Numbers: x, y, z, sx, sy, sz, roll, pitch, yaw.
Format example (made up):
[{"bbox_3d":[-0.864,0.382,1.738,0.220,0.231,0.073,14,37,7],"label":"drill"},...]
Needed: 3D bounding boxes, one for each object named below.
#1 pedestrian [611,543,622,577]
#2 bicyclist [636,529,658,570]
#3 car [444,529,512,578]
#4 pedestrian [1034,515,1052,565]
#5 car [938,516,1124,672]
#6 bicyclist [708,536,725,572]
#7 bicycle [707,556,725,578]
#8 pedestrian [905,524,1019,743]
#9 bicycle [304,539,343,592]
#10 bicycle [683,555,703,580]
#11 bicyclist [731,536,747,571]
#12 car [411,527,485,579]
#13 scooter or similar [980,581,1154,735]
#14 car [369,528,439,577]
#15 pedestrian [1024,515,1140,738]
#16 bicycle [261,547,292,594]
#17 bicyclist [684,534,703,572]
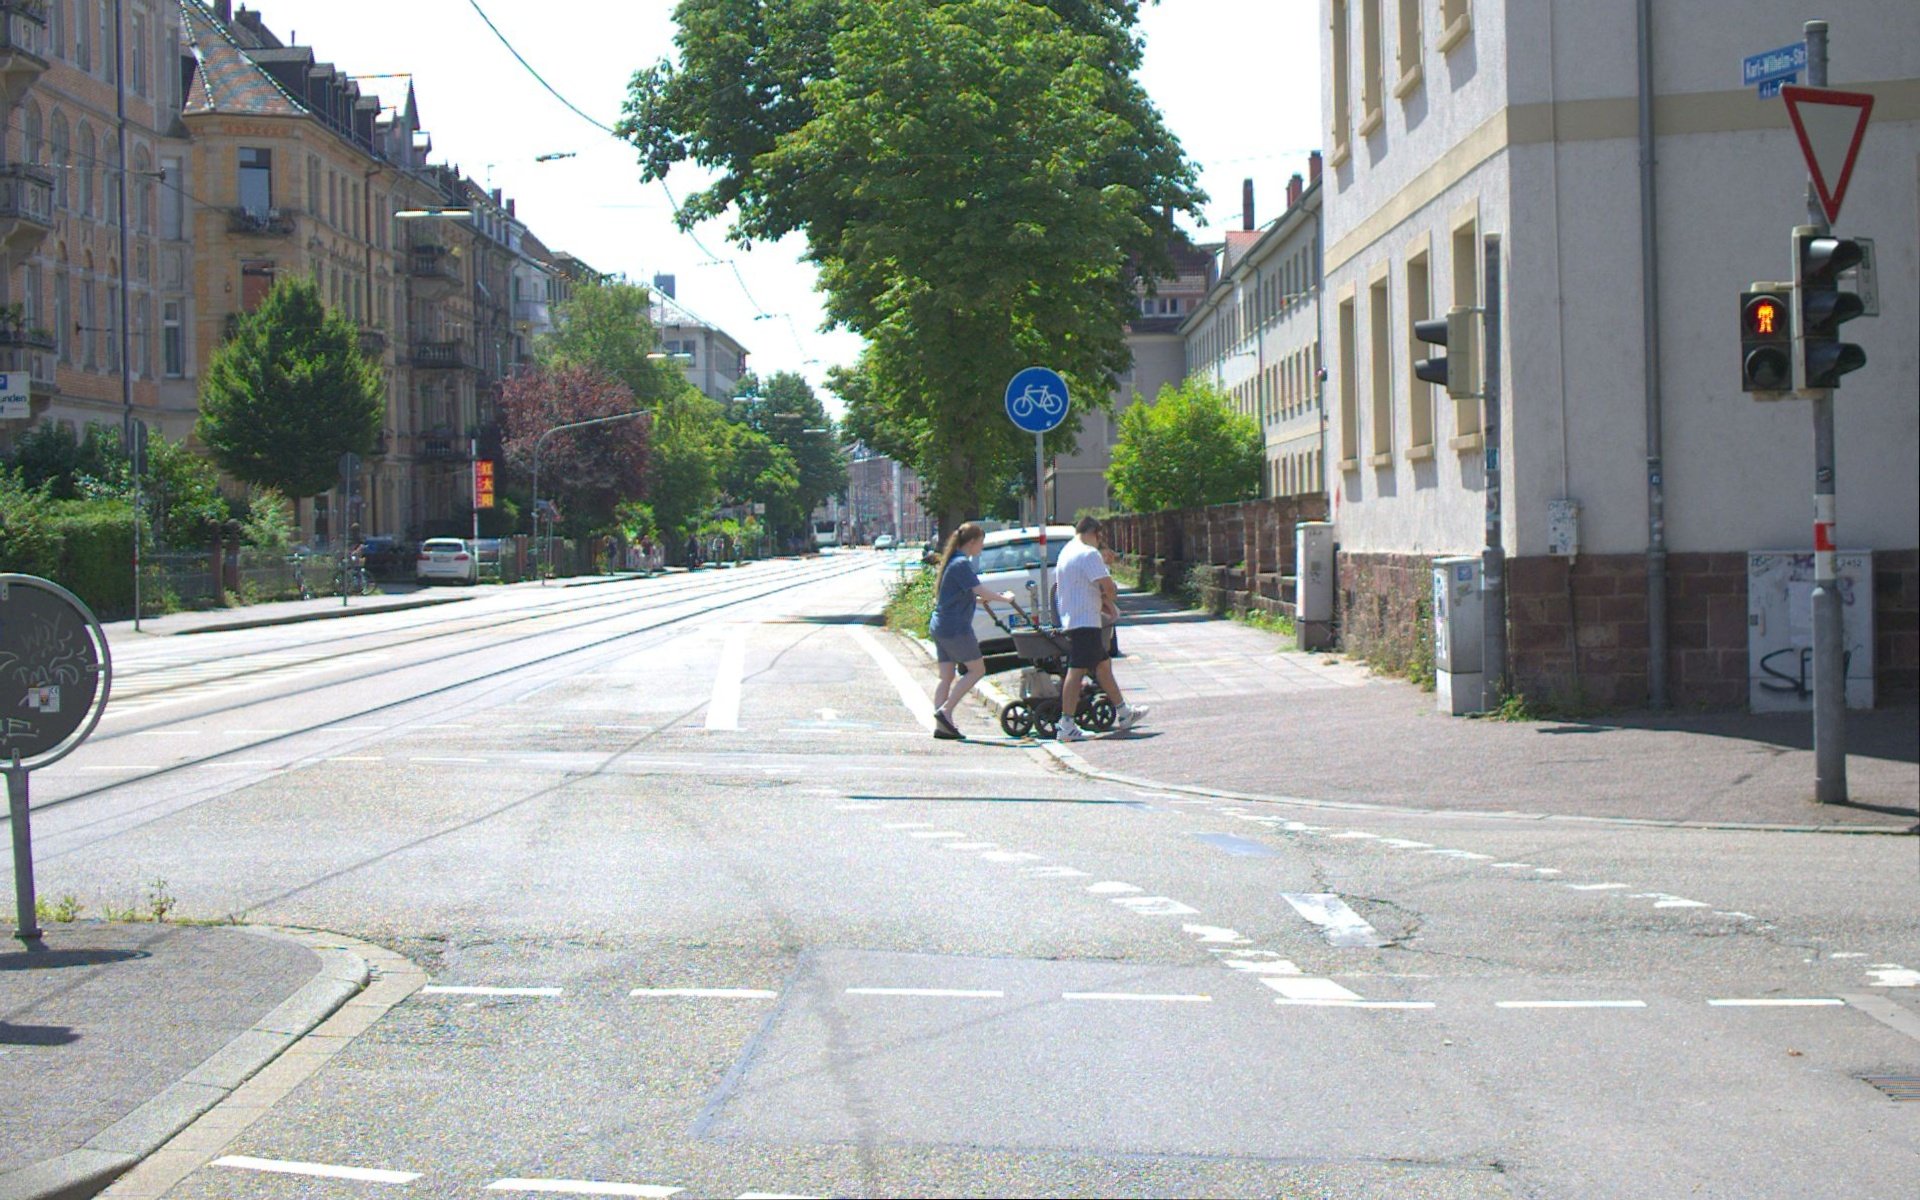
[{"bbox_3d":[-14.648,-1.713,146.512,0.406,1.456,0.436,-1,1,-1],"label":"pedestrian"},{"bbox_3d":[-12.476,-2.015,137.209,0.727,1.623,1.079,1,0,1],"label":"bicyclist"},{"bbox_3d":[-17.339,-1.664,123.837,1.919,1.709,4.000,1,1,-1],"label":"car"},{"bbox_3d":[2.611,-1.874,107.826,0.521,1.557,0.573,-1,1,-1],"label":"pedestrian"},{"bbox_3d":[0.716,-0.085,37.332,1.815,1.511,4.000,-3,1,-1],"label":"car"},{"bbox_3d":[-12.605,-2.381,178.070,0.727,1.812,1.079,1,0,1],"label":"bicyclist"},{"bbox_3d":[-12.621,-1.697,178.063,0.727,1.119,2.085,1,1,1],"label":"bicycle"},{"bbox_3d":[0.014,0.250,26.077,0.675,1.640,0.559,1,0,-23],"label":"pedestrian"},{"bbox_3d":[-15.667,-0.851,84.676,0.677,1.274,1.919,-1,1,-3],"label":"bicycle"},{"bbox_3d":[-12.230,-1.505,157.585,0.727,1.119,2.085,1,1,1],"label":"bicycle"},{"bbox_3d":[-11.435,-2.396,177.854,0.727,1.812,1.079,1,0,1],"label":"bicyclist"},{"bbox_3d":[-17.195,-1.579,115.573,1.919,1.709,4.000,1,1,-1],"label":"car"},{"bbox_3d":[0.822,0.441,26.453,1.201,1.151,0.558,1,0,-26],"label":"scooter or similar"},{"bbox_3d":[-20.026,-1.702,123.910,1.919,1.709,4.000,1,1,-1],"label":"car"},{"bbox_3d":[0.909,0.196,25.662,0.675,1.640,0.559,1,0,-23],"label":"pedestrian"},{"bbox_3d":[-15.910,-0.701,80.033,0.677,1.061,1.919,-1,1,-11],"label":"bicycle"},{"bbox_3d":[-12.223,-2.155,157.562,0.727,1.762,1.079,1,0,1],"label":"bicyclist"}]
